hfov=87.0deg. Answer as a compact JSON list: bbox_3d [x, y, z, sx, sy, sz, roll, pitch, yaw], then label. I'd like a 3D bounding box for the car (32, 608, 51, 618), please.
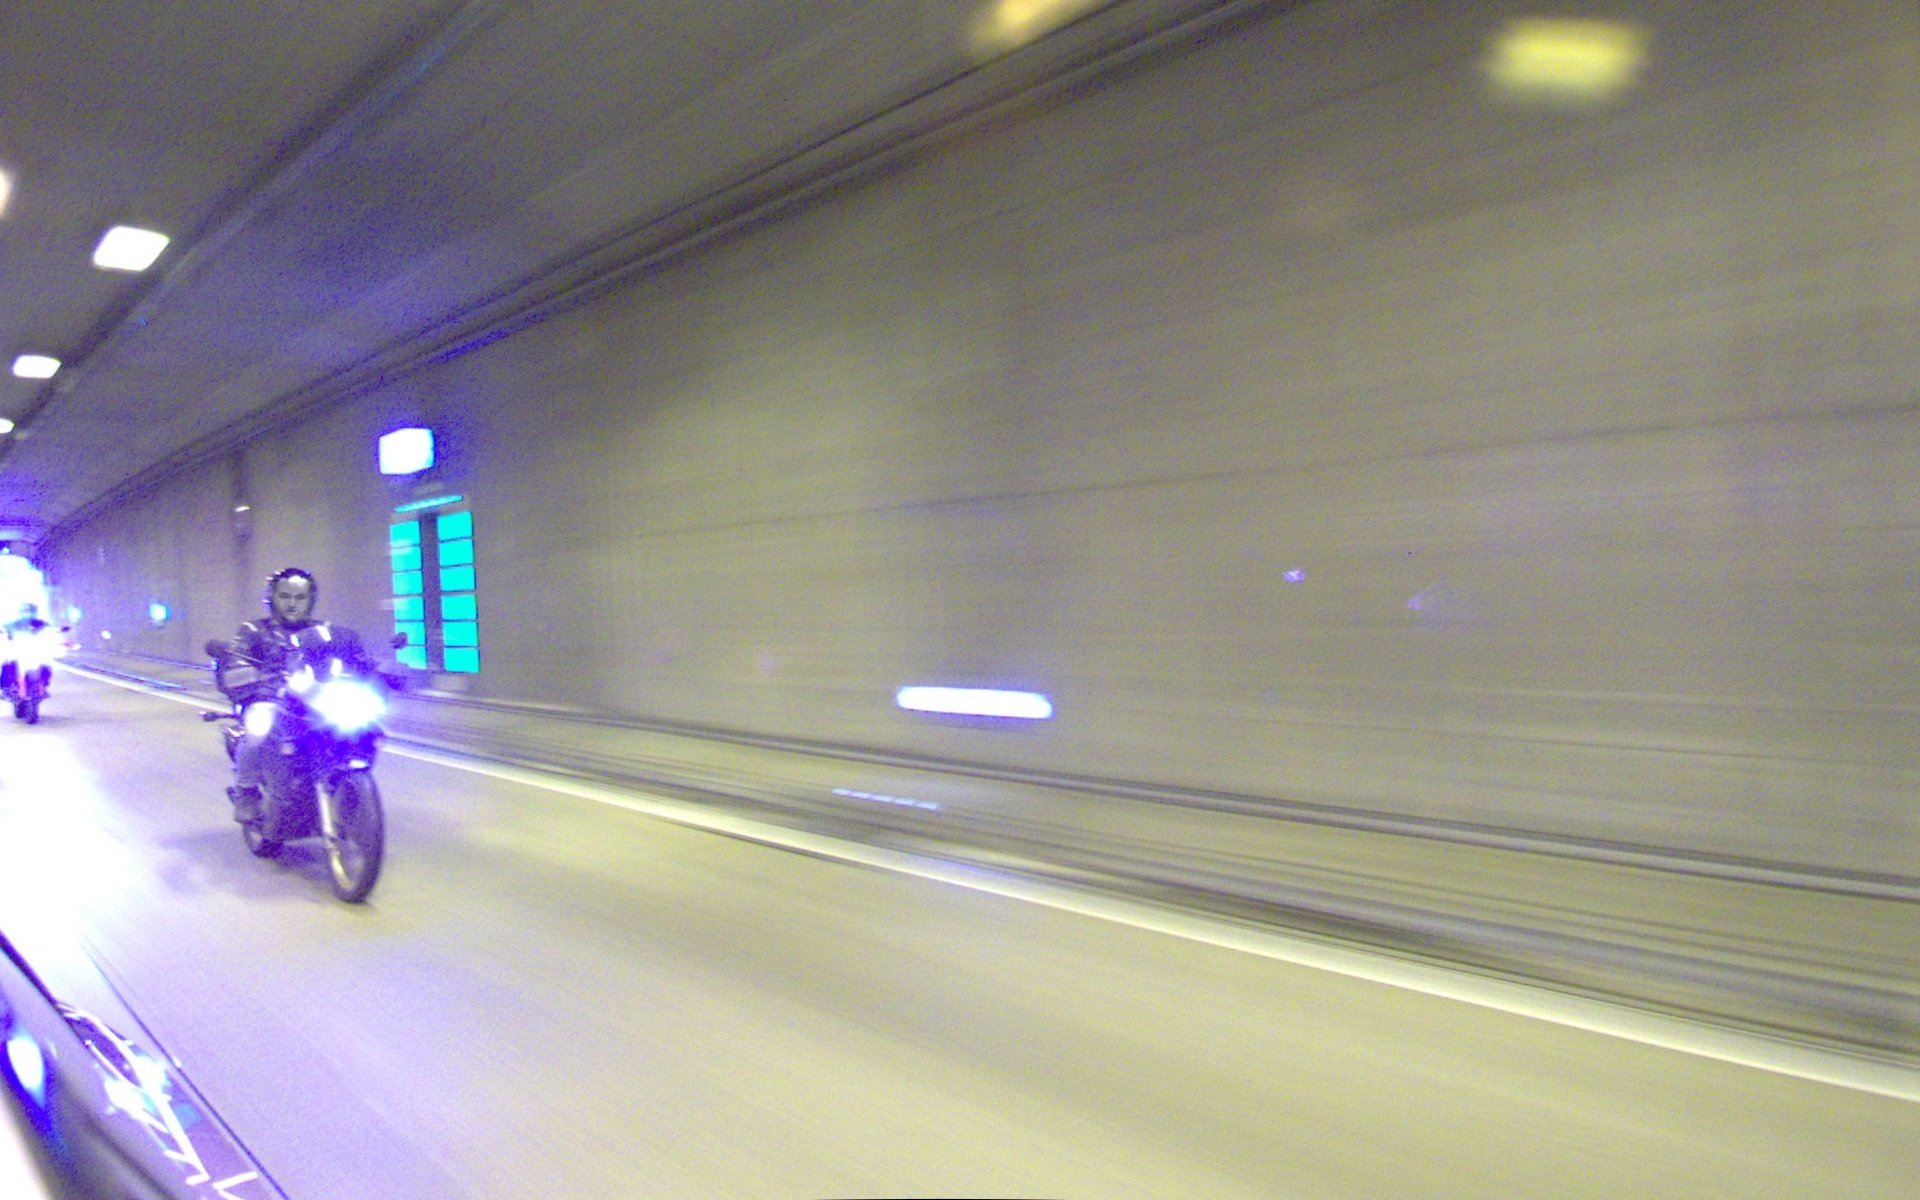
[{"bbox_3d":[-162.889,2.278,179.550,1.967,1.812,4.010,-1,1,-35],"label":"car"}]

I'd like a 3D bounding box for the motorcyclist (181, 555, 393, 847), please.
[{"bbox_3d":[-3.825,0.519,5.751,0.821,1.488,0.830,-2,-1,42],"label":"motorcyclist"}]

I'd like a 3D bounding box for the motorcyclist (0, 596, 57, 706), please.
[{"bbox_3d":[-13.268,0.701,14.330,0.890,1.500,0.620,-1,-1,41],"label":"motorcyclist"}]

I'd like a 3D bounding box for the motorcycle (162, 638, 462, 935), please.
[{"bbox_3d":[-3.737,0.873,5.697,2.605,1.255,0.836,-1,-1,44],"label":"motorcycle"}]

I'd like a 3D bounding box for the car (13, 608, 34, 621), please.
[{"bbox_3d":[-139.506,2.114,150.847,1.968,1.812,4.008,-2,1,-39],"label":"car"}]

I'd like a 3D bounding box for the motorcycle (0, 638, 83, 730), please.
[{"bbox_3d":[-13.352,1.150,14.379,2.426,1.166,1.042,-1,-1,41],"label":"motorcycle"}]
